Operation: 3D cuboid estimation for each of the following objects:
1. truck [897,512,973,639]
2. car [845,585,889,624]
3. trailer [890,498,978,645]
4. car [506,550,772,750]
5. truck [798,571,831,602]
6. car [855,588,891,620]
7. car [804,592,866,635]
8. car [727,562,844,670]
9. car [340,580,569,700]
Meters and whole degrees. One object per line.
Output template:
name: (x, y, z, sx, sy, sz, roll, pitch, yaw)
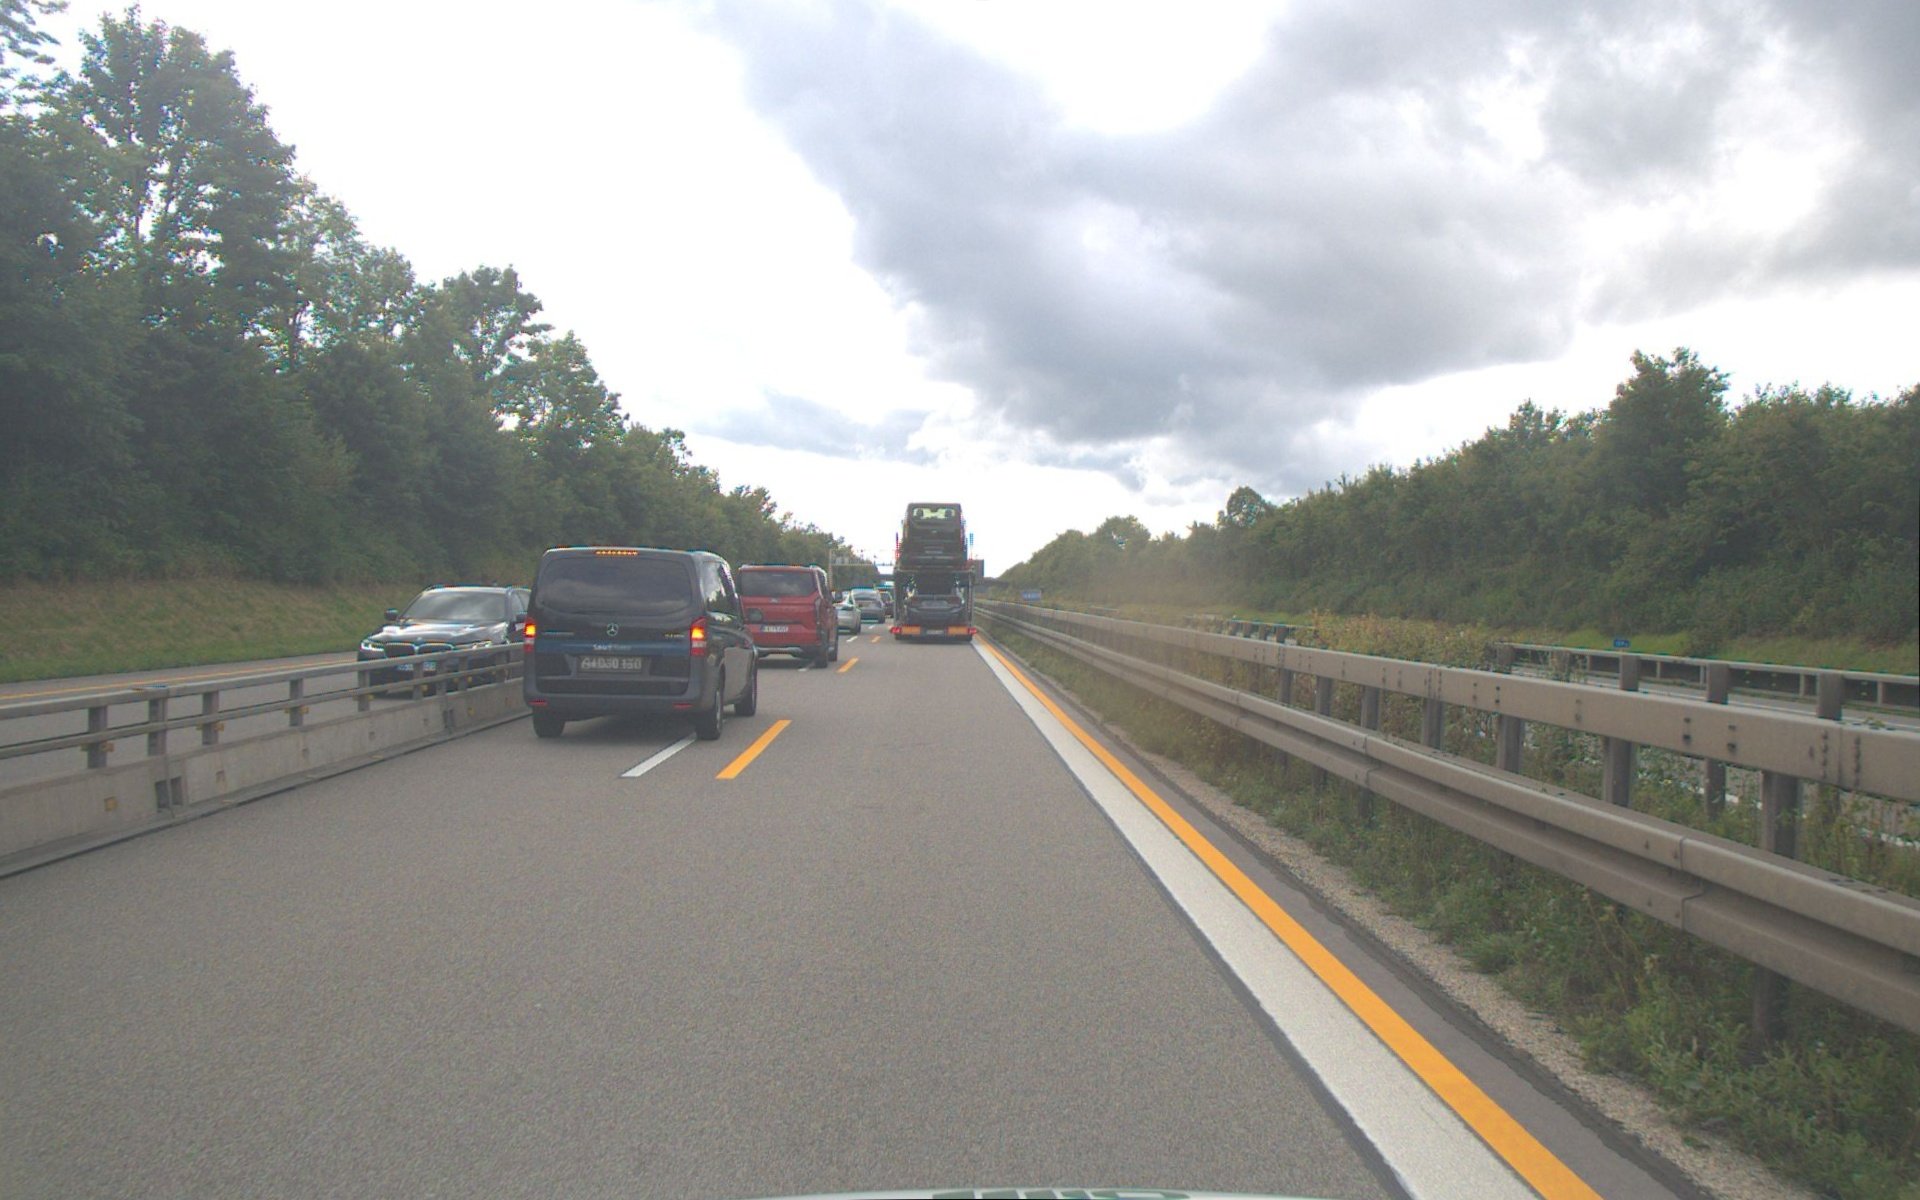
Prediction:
truck: (-0.849, -0.826, 57.609, 2.464, 4.177, 5.684, 1, 0, -1)
car: (-4.469, 0.200, 79.961, 1.990, 1.788, 4.576, 0, 0, -2)
trailer: (-0.799, -0.819, 52.909, 2.464, 4.177, 11.111, 1, 0, -1)
car: (-3.327, 0.455, 18.323, 1.953, 1.875, 5.608, 0, 0, -1)
truck: (-13.367, -1.218, 152.398, 2.439, 2.765, 6.666, 1, 0, -1)
car: (-4.886, 0.220, 93.393, 1.990, 1.788, 4.576, 0, 0, -2)
car: (-4.419, 0.454, 58.884, 1.990, 1.456, 4.576, 0, 0, -2)
car: (-3.488, 0.306, 33.846, 1.990, 2.049, 4.577, 0, 0, -1)
car: (-7.070, 0.498, 23.694, 1.958, 1.525, 4.898, 1, 0, -3)
